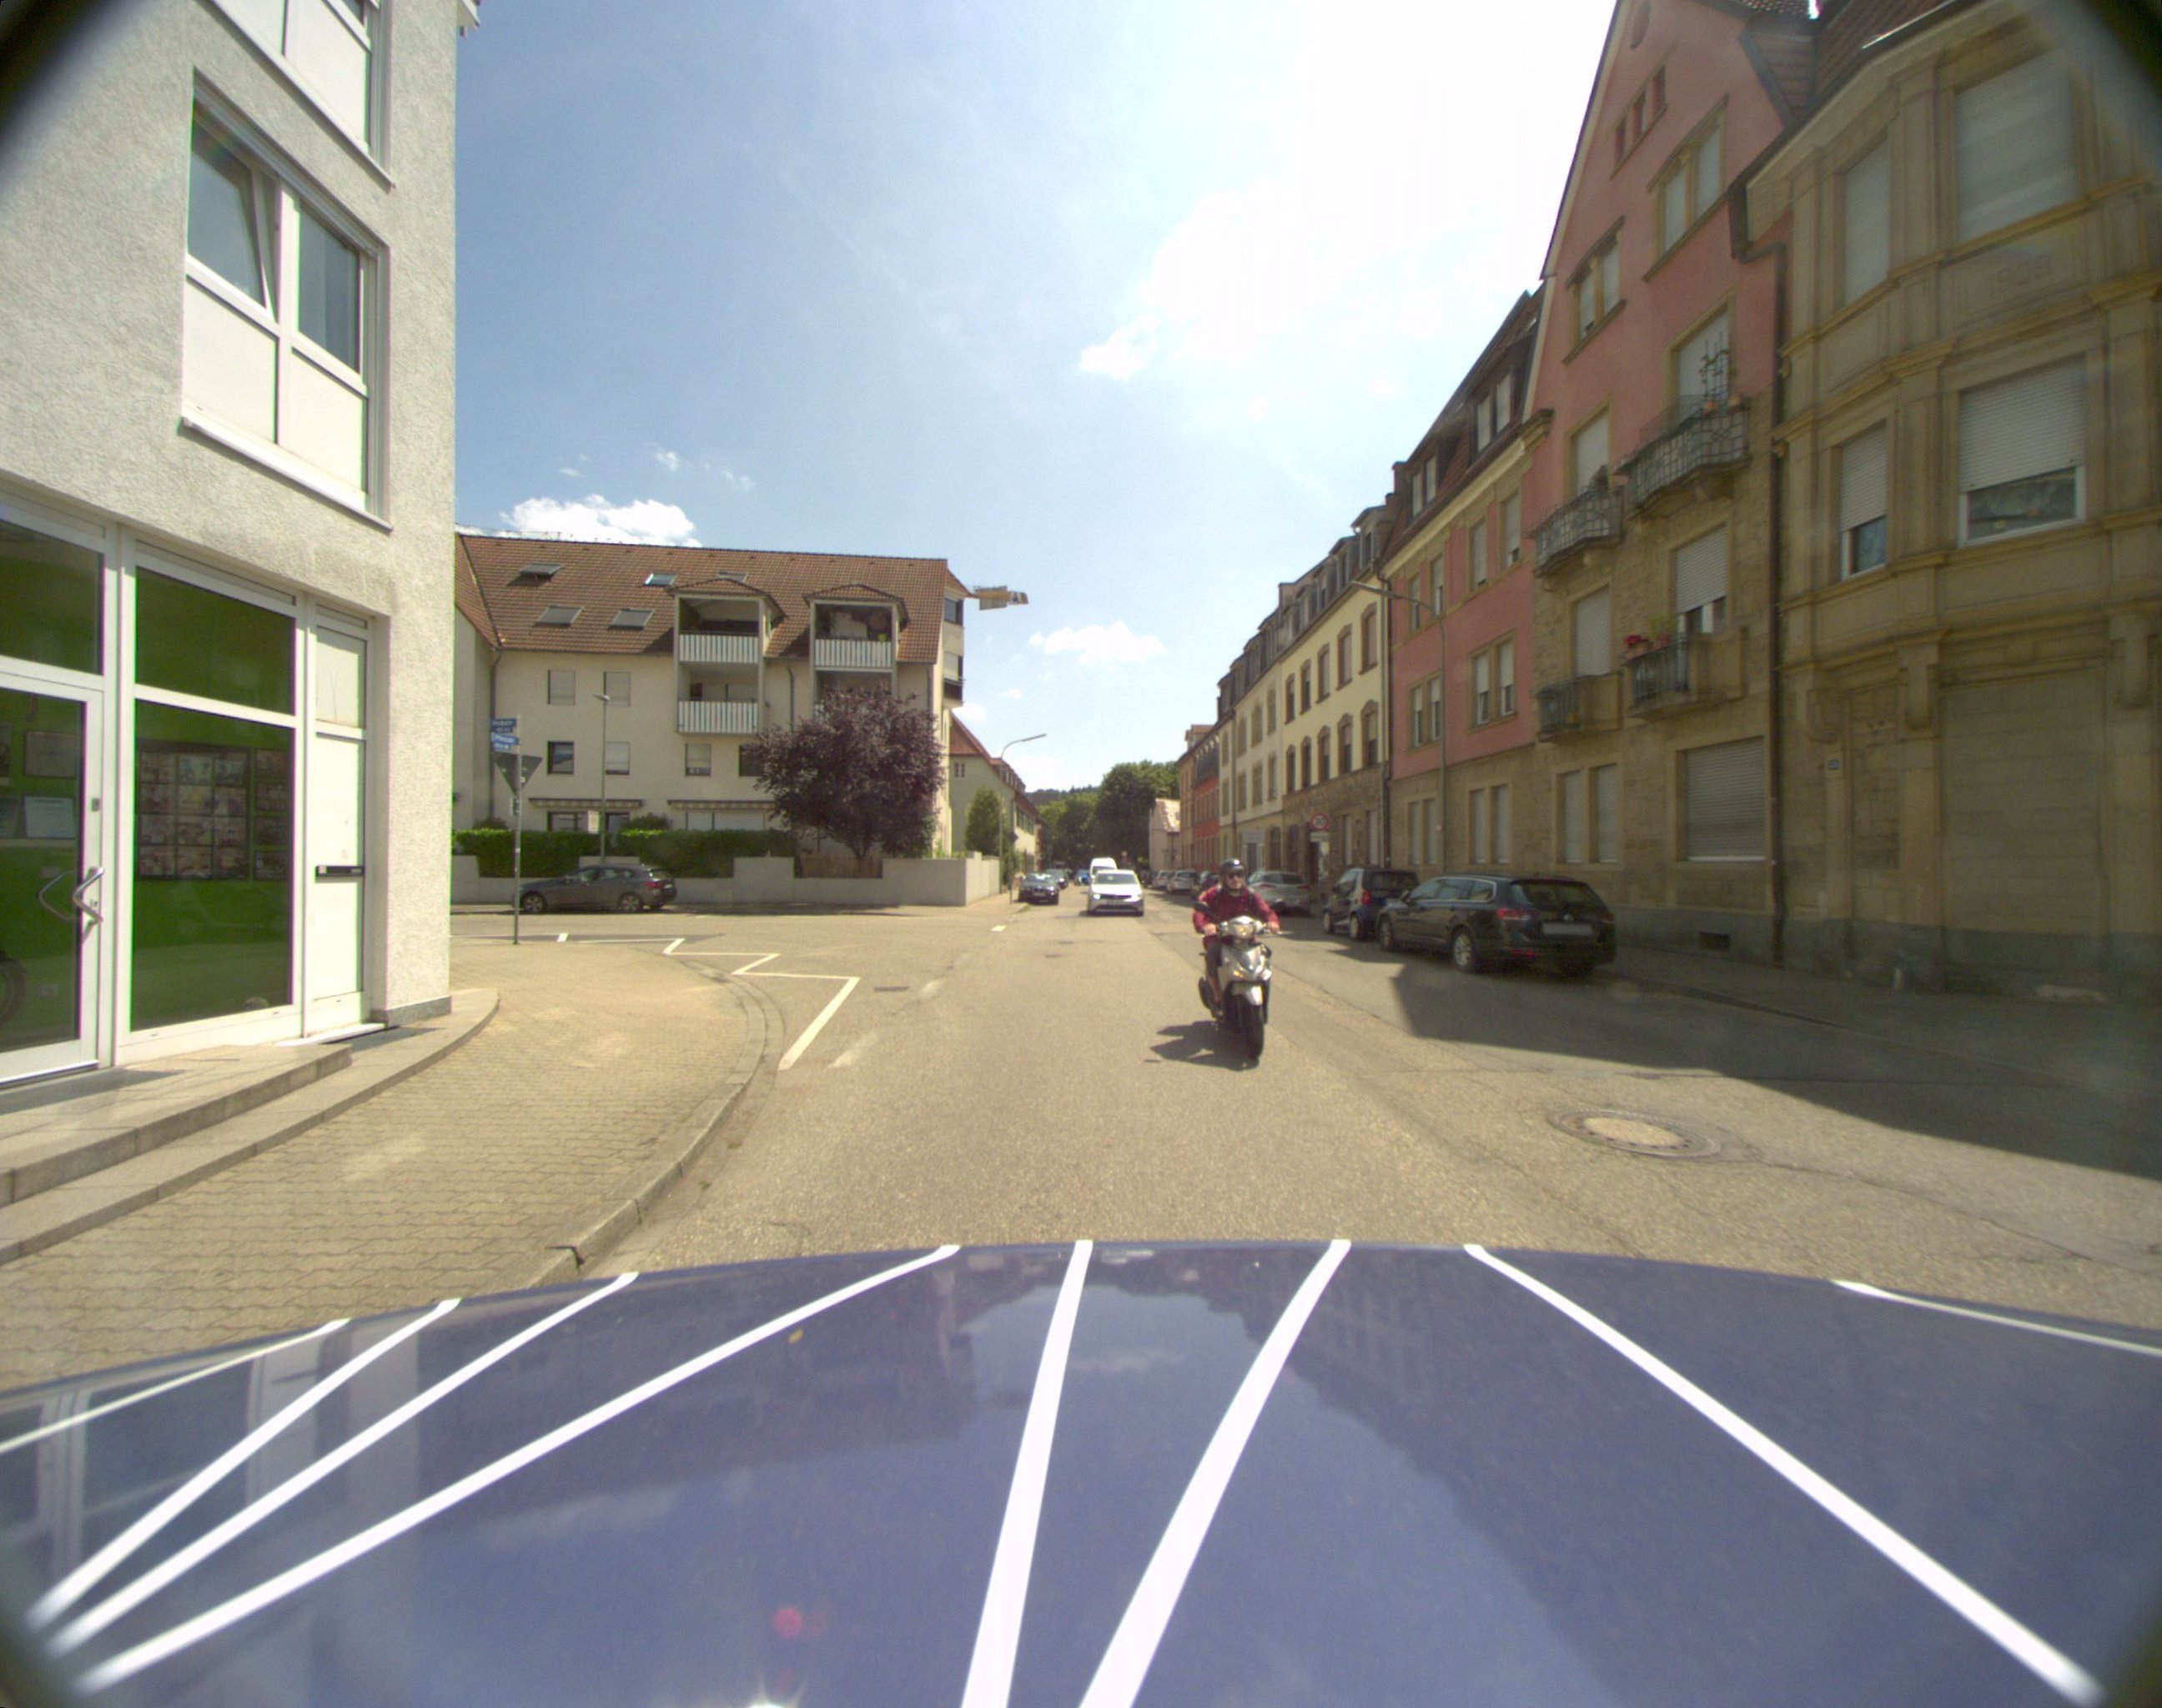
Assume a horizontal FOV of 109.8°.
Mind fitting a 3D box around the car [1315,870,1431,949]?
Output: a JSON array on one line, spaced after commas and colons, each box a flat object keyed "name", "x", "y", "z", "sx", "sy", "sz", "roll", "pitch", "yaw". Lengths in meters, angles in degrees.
[{"name": "car", "x": 6.249, "y": 1.139, "z": 16.529, "sx": 1.440, "sy": 1.513, "sz": 2.695, "roll": 0, "pitch": 0, "yaw": -1}]

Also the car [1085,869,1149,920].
[{"name": "car", "x": 1.111, "y": 1.264, "z": 24.991, "sx": 1.812, "sy": 1.512, "sz": 4.000, "roll": -1, "pitch": -1, "yaw": -1}]

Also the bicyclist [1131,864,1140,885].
[{"name": "bicyclist", "x": 4.579, "y": 1.711, "z": 63.768, "sx": 0.643, "sy": 1.752, "sz": 1.167, "roll": 2, "pitch": 0, "yaw": -2}]

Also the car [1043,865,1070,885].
[{"name": "car", "x": -1.845, "y": 1.625, "z": 58.791, "sx": 1.851, "sy": 1.506, "sz": 4.001, "roll": 0, "pitch": -1, "yaw": 2}]

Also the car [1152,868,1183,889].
[{"name": "car", "x": 6.301, "y": 1.780, "z": 55.540, "sx": 1.715, "sy": 1.450, "sz": 3.853, "roll": 1, "pitch": -1, "yaw": -1}]

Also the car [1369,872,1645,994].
[{"name": "car", "x": 6.313, "y": 1.059, "z": 12.000, "sx": 1.787, "sy": 1.449, "sz": 4.635, "roll": 0, "pitch": 0, "yaw": 1}]

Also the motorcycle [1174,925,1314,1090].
[{"name": "motorcycle", "x": 1.333, "y": 1.234, "z": 6.631, "sx": 0.760, "sy": 1.049, "sz": 1.992, "roll": -1, "pitch": -1, "yaw": -1}]

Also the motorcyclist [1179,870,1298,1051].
[{"name": "motorcyclist", "x": 1.337, "y": 0.870, "z": 6.636, "sx": 0.793, "sy": 1.431, "sz": 1.020, "roll": -1, "pitch": 0, "yaw": -1}]

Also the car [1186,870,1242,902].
[{"name": "car", "x": 6.395, "y": 1.531, "z": 37.012, "sx": 1.877, "sy": 1.430, "sz": 4.218, "roll": 0, "pitch": -1, "yaw": -2}]

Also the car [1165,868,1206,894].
[{"name": "car", "x": 6.350, "y": 1.612, "z": 46.478, "sx": 1.883, "sy": 1.501, "sz": 4.381, "roll": 0, "pitch": -1, "yaw": 0}]

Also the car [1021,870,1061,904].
[{"name": "car", "x": -1.726, "y": 1.411, "z": 33.388, "sx": 1.661, "sy": 1.368, "sz": 4.238, "roll": 0, "pitch": -1, "yaw": -2}]

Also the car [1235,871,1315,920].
[{"name": "car", "x": 6.482, "y": 1.345, "z": 25.813, "sx": 1.639, "sy": 1.423, "sz": 4.018, "roll": 1, "pitch": -1, "yaw": 0}]

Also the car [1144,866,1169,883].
[{"name": "car", "x": 6.714, "y": 1.794, "z": 67.830, "sx": 1.732, "sy": 1.433, "sz": 3.857, "roll": 0, "pitch": -1, "yaw": -1}]

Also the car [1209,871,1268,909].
[{"name": "car", "x": 6.460, "y": 1.443, "z": 31.446, "sx": 1.602, "sy": 1.433, "sz": 3.495, "roll": 1, "pitch": -1, "yaw": -2}]

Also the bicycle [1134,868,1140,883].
[{"name": "bicycle", "x": 4.709, "y": 1.789, "z": 63.847, "sx": 0.229, "sy": 1.267, "sz": 1.883, "roll": 2, "pitch": 0, "yaw": -2}]

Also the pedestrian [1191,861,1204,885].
[{"name": "pedestrian", "x": 8.730, "y": 1.398, "z": 56.867, "sx": 0.770, "sy": 1.760, "sz": 0.764, "roll": -2, "pitch": 0, "yaw": -1}]

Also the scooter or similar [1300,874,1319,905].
[{"name": "scooter or similar", "x": 9.242, "y": 1.413, "z": 30.785, "sx": 0.375, "sy": 1.213, "sz": 1.319, "roll": 0, "pitch": 0, "yaw": 0}]

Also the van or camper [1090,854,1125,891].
[{"name": "van or camper", "x": 1.658, "y": 1.159, "z": 49.155, "sx": 1.999, "sy": 2.273, "sz": 5.144, "roll": 0, "pitch": -1, "yaw": -1}]

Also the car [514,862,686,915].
[{"name": "car", "x": -14.299, "y": 1.011, "z": 22.774, "sx": 3.999, "sy": 1.460, "sz": 1.737, "roll": 1, "pitch": 0, "yaw": -6}]

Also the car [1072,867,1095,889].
[{"name": "car", "x": 0.291, "y": 2.357, "z": 74.420, "sx": 1.998, "sy": 2.002, "sz": 4.001, "roll": -2, "pitch": 0, "yaw": 2}]
